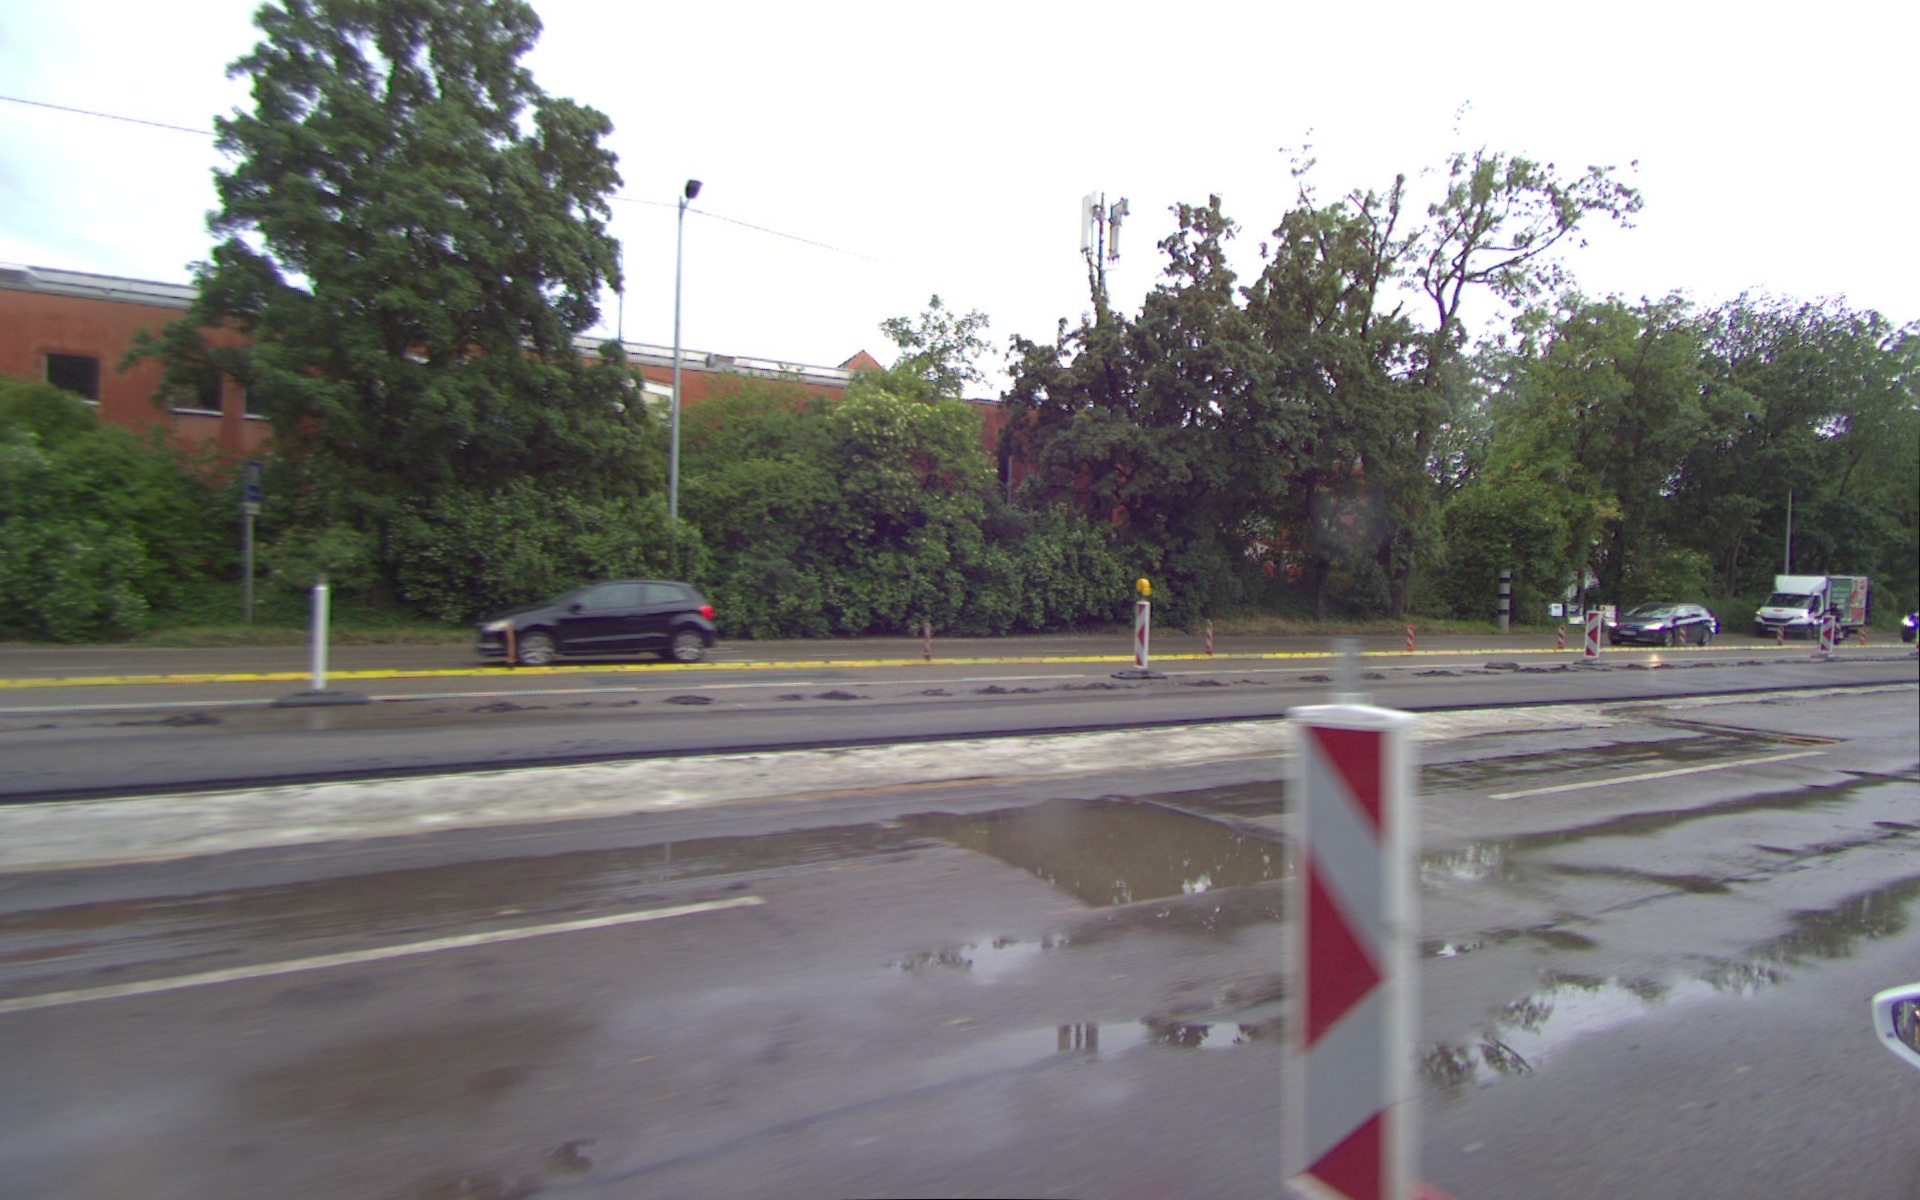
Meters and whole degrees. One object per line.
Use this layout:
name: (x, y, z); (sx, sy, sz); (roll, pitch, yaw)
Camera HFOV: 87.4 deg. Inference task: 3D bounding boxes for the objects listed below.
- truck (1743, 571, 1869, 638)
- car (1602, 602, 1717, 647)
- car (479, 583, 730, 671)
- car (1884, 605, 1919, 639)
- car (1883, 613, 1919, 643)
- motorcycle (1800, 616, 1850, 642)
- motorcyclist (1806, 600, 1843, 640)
truck: (40.094, 0.221, 47.536); (6.850, 2.979, 2.236); (1, 1, -29)
car: (24.171, 0.820, 34.656); (4.271, 1.434, 1.661); (1, 1, -31)
car: (-6.029, 0.443, 17.178); (3.819, 1.350, 1.439); (1, 0, -33)
car: (47.059, 1.081, 48.762); (4.382, 1.551, 1.951); (1, 1, -29)
car: (52.114, 1.520, 54.541); (4.267, 1.505, 1.662); (1, 1, -29)
motorcycle: (35.292, 1.181, 40.971); (2.339, 1.028, 0.824); (1, 2, -31)
motorcyclist: (35.180, 0.795, 40.884); (0.916, 1.586, 0.824); (1, 2, -30)
